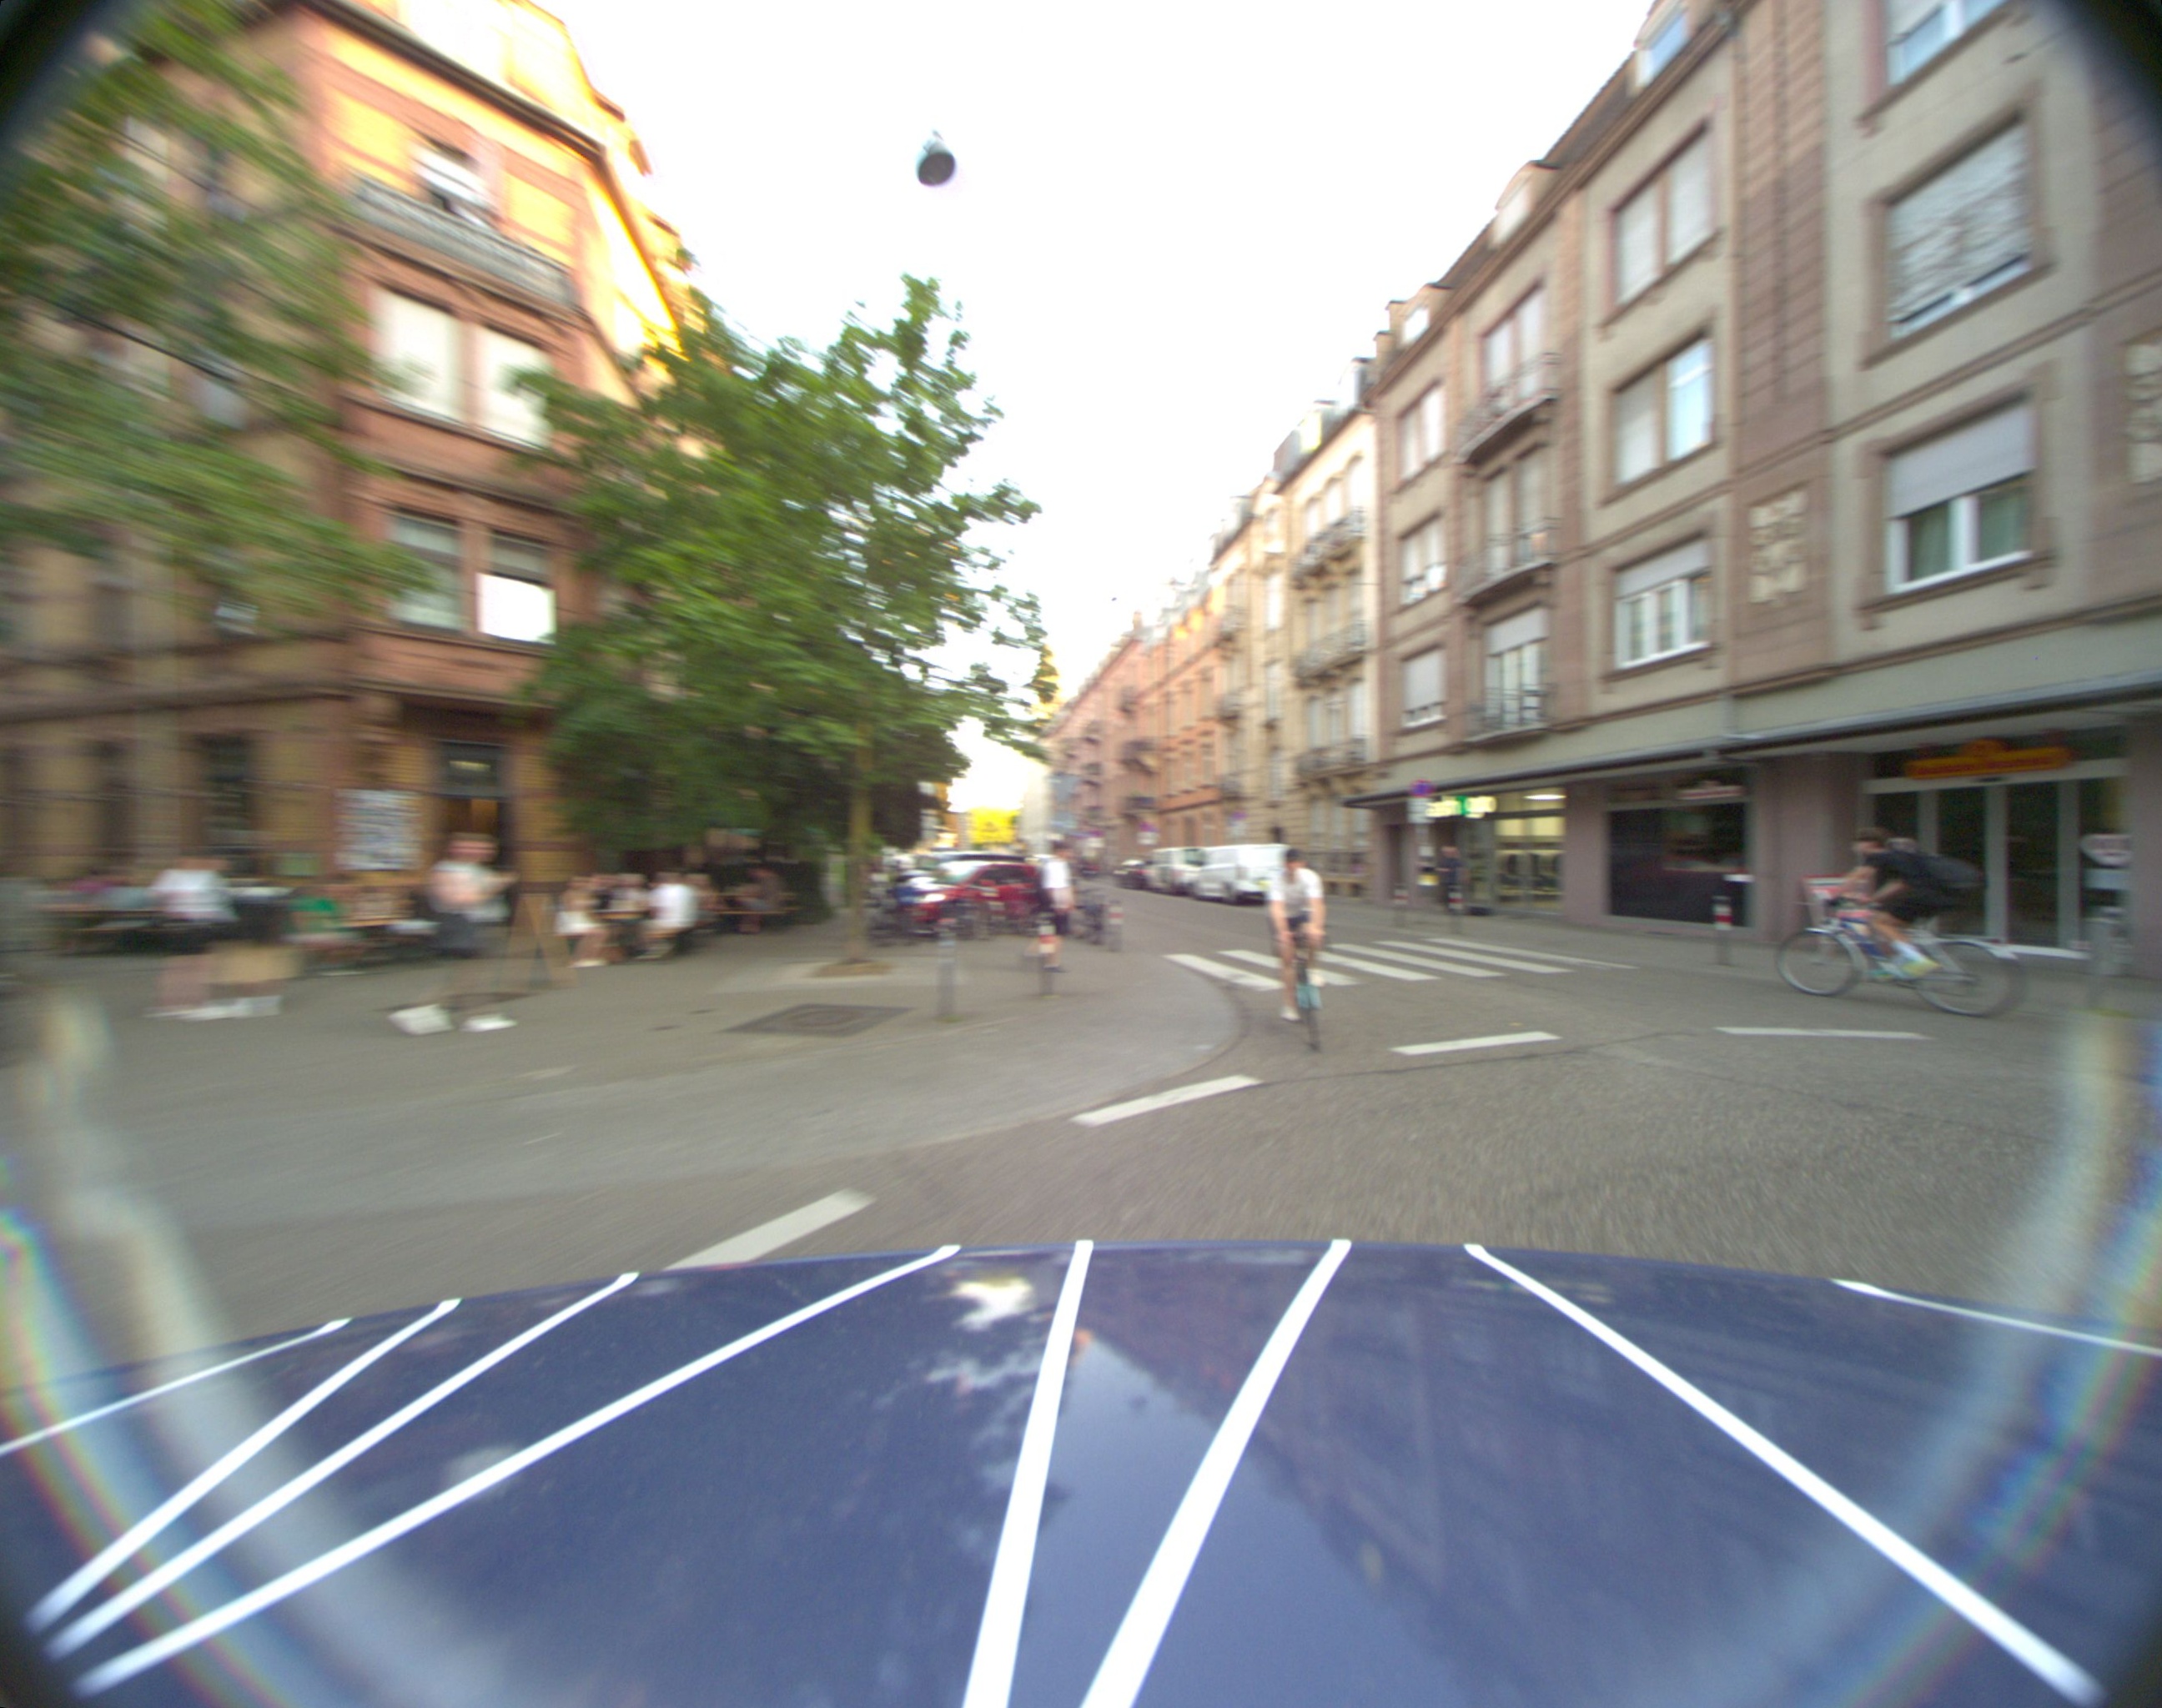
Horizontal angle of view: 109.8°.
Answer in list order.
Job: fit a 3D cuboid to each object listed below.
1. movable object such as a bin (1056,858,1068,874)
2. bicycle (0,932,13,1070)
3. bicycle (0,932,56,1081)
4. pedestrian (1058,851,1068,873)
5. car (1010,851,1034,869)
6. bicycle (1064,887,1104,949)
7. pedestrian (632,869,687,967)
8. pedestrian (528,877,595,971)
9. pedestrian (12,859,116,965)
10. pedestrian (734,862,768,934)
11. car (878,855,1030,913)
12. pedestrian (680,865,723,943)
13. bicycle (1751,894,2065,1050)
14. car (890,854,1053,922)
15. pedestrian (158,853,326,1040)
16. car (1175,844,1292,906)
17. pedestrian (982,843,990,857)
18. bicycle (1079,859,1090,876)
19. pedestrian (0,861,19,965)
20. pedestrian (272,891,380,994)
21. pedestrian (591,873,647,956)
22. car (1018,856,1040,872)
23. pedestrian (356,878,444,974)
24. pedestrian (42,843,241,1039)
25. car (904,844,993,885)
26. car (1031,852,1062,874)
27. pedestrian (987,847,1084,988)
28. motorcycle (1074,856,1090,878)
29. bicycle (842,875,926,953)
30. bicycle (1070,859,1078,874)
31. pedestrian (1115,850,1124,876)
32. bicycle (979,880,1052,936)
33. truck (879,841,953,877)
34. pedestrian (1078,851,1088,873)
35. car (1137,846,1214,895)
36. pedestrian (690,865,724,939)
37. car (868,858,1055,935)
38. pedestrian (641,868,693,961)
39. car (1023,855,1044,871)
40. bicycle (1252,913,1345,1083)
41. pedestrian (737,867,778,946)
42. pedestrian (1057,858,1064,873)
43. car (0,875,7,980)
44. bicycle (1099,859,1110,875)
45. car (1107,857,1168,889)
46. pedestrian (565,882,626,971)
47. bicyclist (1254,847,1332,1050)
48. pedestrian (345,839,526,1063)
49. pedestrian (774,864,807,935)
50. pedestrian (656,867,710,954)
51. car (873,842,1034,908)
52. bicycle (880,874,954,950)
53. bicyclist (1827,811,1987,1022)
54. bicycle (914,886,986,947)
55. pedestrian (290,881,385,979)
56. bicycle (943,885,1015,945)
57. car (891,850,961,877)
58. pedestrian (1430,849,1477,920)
[{"bbox_3d":[-1.601,0.974,63.160,0.890,1.244,0.775,-2,1,-11],"label":"movable object such as a bin"},{"bbox_3d":[-9.290,1.241,5.338,0.435,1.127,2.036,-2,1,10],"label":"bicycle"},{"bbox_3d":[-8.793,1.227,5.230,0.435,1.127,2.036,-2,1,10],"label":"bicycle"},{"bbox_3d":[-1.482,0.678,62.471,0.600,1.804,0.719,-2,2,-20],"label":"pedestrian"},{"bbox_3d":[-6.653,0.676,85.331,1.934,1.872,4.900,-1,0,-12],"label":"car"},{"bbox_3d":[0.047,1.221,14.912,0.365,1.057,1.550,-2,1,-15],"label":"bicycle"},{"bbox_3d":[-6.191,0.930,11.178,0.546,1.372,0.466,-2,2,-13],"label":"pedestrian"},{"bbox_3d":[-7.364,0.975,10.796,0.546,1.262,0.573,-2,1,-10],"label":"pedestrian"},{"bbox_3d":[-16.717,0.928,12.498,0.765,1.668,0.747,-1,2,18],"label":"pedestrian"},{"bbox_3d":[-6.625,0.868,15.272,0.555,1.401,0.513,-2,2,-23],"label":"pedestrian"},{"bbox_3d":[-3.831,0.915,23.423,4.234,1.612,1.928,3,-1,-44],"label":"car"},{"bbox_3d":[-7.124,0.922,14.261,0.515,1.401,0.618,-3,2,-44],"label":"pedestrian"},{"bbox_3d":[7.925,1.045,7.400,0.842,1.165,1.931,-3,1,-30],"label":"bicycle"},{"bbox_3d":[-2.945,0.923,21.172,1.927,1.678,4.234,1,-1,41],"label":"car"},{"bbox_3d":[-8.397,0.868,7.626,0.835,1.714,0.870,-1,2,26],"label":"pedestrian"},{"bbox_3d":[5.146,0.648,26.463,2.117,1.910,5.020,-1,0,-13],"label":"car"},{"bbox_3d":[-19.438,-0.800,155.074,1.447,2.725,1.011,-2,2,-12],"label":"pedestrian"},{"bbox_3d":[0.241,0.995,56.043,0.413,1.153,1.836,-2,1,-10],"label":"bicycle"},{"bbox_3d":[-17.892,0.971,12.181,0.765,1.668,0.747,-1,2,18],"label":"pedestrian"},{"bbox_3d":[-9.863,1.134,9.956,0.627,1.225,0.739,-2,1,-8],"label":"pedestrian"},{"bbox_3d":[-7.375,0.953,12.150,0.546,1.262,0.573,-2,1,-10],"label":"pedestrian"},{"bbox_3d":[-5.517,1.044,80.091,1.934,1.587,3.966,-1,0,-10],"label":"car"},{"bbox_3d":[-10.279,1.065,11.497,0.627,1.338,0.739,-2,1,-8],"label":"pedestrian"},{"bbox_3d":[-9.384,0.816,7.646,0.837,1.817,0.867,-2,2,-16],"label":"pedestrian"},{"bbox_3d":[-7.983,0.623,45.979,4.948,2.348,1.995,0,0,-37],"label":"car"},{"bbox_3d":[-3.033,0.739,65.813,1.777,1.778,4.581,-2,1,-13],"label":"car"},{"bbox_3d":[-0.624,0.808,10.249,0.950,1.760,0.866,-3,2,-32],"label":"pedestrian"},{"bbox_3d":[0.055,0.843,51.369,0.687,1.397,2.012,-2,1,-9],"label":"motorcycle"},{"bbox_3d":[-3.532,1.035,13.552,1.718,1.281,0.600,-1,1,42],"label":"bicycle"},{"bbox_3d":[-0.590,0.999,60.273,0.467,1.148,1.999,-2,1,-4],"label":"bicycle"},{"bbox_3d":[2.627,0.600,52.308,0.465,1.779,0.641,-2,2,-8],"label":"pedestrian"},{"bbox_3d":[-1.420,1.156,16.550,1.554,1.154,0.364,0,0,-25],"label":"bicycle"},{"bbox_3d":[-15.269,0.413,70.760,6.501,3.059,2.522,-2,1,-8],"label":"truck"},{"bbox_3d":[0.172,0.632,61.809,0.684,1.800,0.961,-2,1,-5],"label":"pedestrian"},{"bbox_3d":[3.909,0.635,32.362,1.843,1.910,4.840,-1,0,-10],"label":"car"},{"bbox_3d":[-7.361,0.925,14.958,0.515,1.401,0.618,-2,2,-23],"label":"pedestrian"},{"bbox_3d":[-2.711,0.941,17.822,4.058,1.618,1.688,2,-2,-43],"label":"car"},{"bbox_3d":[-6.443,0.927,11.844,0.546,1.372,0.466,-2,2,-13],"label":"pedestrian"},{"bbox_3d":[-4.791,0.868,75.801,1.711,1.521,3.789,-1,0,-10],"label":"car"},{"bbox_3d":[1.884,1.188,6.771,0.520,1.148,1.784,-2,1,8],"label":"bicycle"},{"bbox_3d":[-6.094,0.972,14.316,0.640,1.401,0.513,-2,2,-23],"label":"pedestrian"},{"bbox_3d":[-1.701,0.975,63.284,0.479,1.244,0.652,-2,1,-11],"label":"pedestrian"},{"bbox_3d":[-16.428,1.059,8.712,1.907,1.517,4.297,-1,1,15],"label":"car"},{"bbox_3d":[1.731,0.948,56.016,0.413,1.153,1.836,-2,1,-10],"label":"bicycle"},{"bbox_3d":[2.755,0.907,37.926,1.843,1.462,4.167,-1,0,-13],"label":"car"},{"bbox_3d":[-7.324,1.079,11.481,0.546,1.262,0.573,-2,1,-10],"label":"pedestrian"},{"bbox_3d":[1.872,0.800,6.790,0.528,1.694,0.790,-2,1,8],"label":"bicyclist"},{"bbox_3d":[-5.671,0.793,6.707,0.866,1.817,0.838,-1,2,22],"label":"pedestrian"},{"bbox_3d":[-5.906,0.910,15.443,0.555,1.401,0.513,-2,2,-23],"label":"pedestrian"},{"bbox_3d":[-6.562,0.910,12.548,0.546,1.372,0.574,-2,1,-4],"label":"pedestrian"},{"bbox_3d":[-4.252,0.735,26.279,1.927,2.060,5.450,1,-1,41],"label":"car"},{"bbox_3d":[-3.104,1.046,14.281,0.600,1.281,1.764,-3,2,-38],"label":"bicycle"},{"bbox_3d":[7.944,0.547,7.323,0.842,1.865,0.876,-3,2,-30],"label":"bicyclist"},{"bbox_3d":[-2.584,1.194,14.868,0.600,1.057,1.764,2,-1,-38],"label":"bicycle"},{"bbox_3d":[-10.936,1.091,11.206,0.627,1.338,0.739,-2,1,-8],"label":"pedestrian"},{"bbox_3d":[-2.075,1.194,15.255,0.600,1.057,1.764,-3,2,-38],"label":"bicycle"},{"bbox_3d":[-12.038,0.753,59.002,5.192,1.944,1.897,2,-1,-12],"label":"car"},{"bbox_3d":[9.111,0.727,18.601,0.711,1.668,0.735,-2,1,-10],"label":"pedestrian"}]
